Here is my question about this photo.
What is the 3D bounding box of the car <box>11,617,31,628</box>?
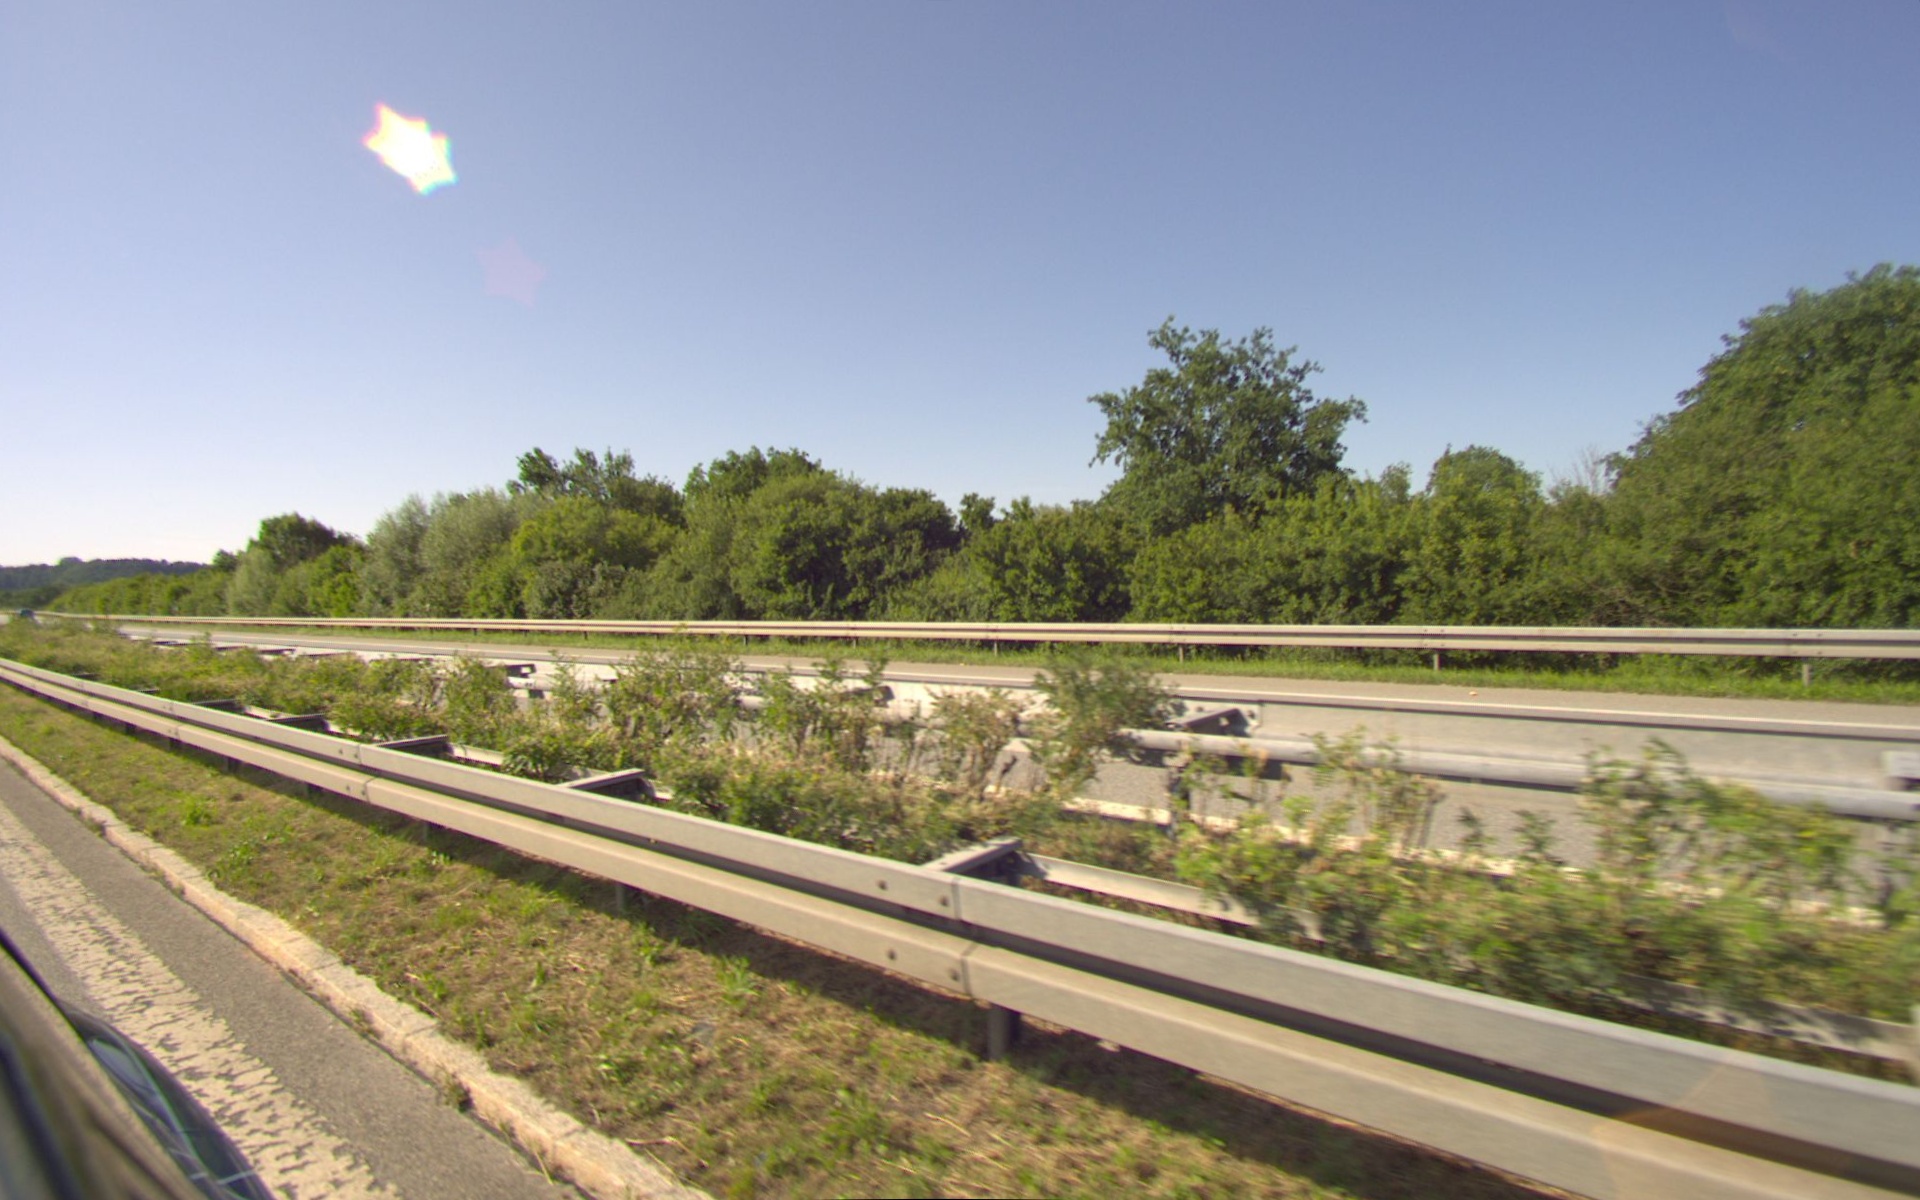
[{"bbox_3d":[-123.787,2.958,133.392,4.000,1.452,1.658,-1,-1,43],"label":"car"}]
